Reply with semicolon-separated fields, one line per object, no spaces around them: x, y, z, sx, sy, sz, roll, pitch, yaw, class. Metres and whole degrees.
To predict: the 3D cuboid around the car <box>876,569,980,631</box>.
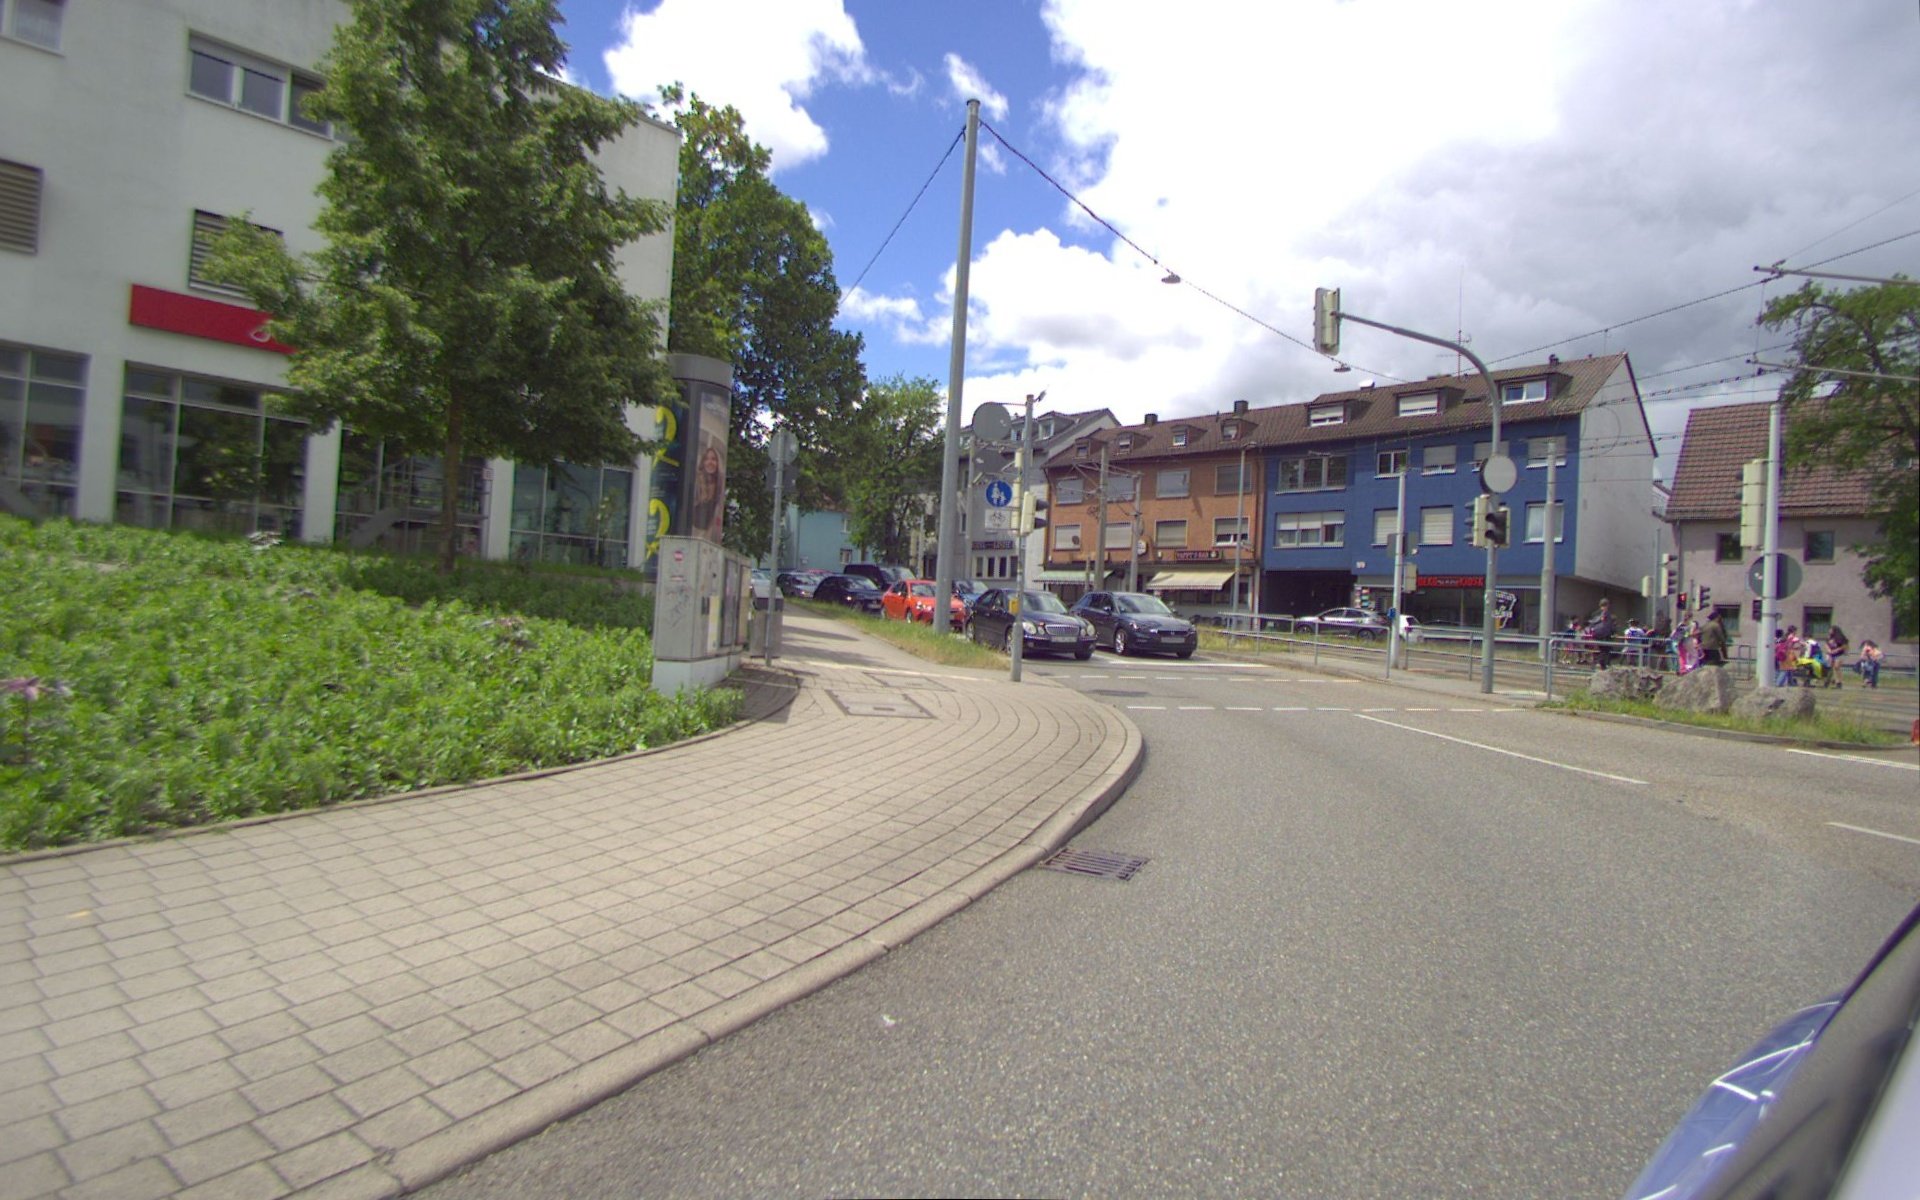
-1.041;-0.004;30.407;1.958;1.663;4.008;3;-1;-19;car

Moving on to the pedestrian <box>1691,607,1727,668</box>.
20.388;1.013;27.545;0.577;1.586;0.674;8;-6;-41;pedestrian

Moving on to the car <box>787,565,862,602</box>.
-6.340;-0.782;47.101;1.975;1.574;4.004;3;0;-31;car

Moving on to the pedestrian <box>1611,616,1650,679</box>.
19.639;1.371;29.642;0.743;1.772;0.584;3;0;18;pedestrian

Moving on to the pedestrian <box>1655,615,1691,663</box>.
21.138;1.153;30.016;0.623;1.393;0.675;3;0;-38;pedestrian

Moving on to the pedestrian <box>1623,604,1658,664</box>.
20.533;1.014;30.546;0.576;1.772;0.675;2;0;-38;pedestrian

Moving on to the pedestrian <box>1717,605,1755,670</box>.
21.798;1.038;28.440;0.576;1.772;0.675;2;0;-38;pedestrian

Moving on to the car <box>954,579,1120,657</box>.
1.539;0.333;22.171;2.009;1.483;4.334;2;0;-19;car

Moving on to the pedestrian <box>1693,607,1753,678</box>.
18.863;1.030;25.034;0.879;1.672;0.822;3;0;16;pedestrian

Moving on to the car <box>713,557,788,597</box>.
-9.629;-1.076;46.375;1.961;1.639;4.002;2;1;-34;car

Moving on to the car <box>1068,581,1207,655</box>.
4.111;0.353;24.111;1.703;1.455;4.104;1;3;-14;car

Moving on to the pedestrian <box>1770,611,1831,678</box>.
19.845;1.039;23.904;0.843;1.500;0.737;3;0;18;pedestrian

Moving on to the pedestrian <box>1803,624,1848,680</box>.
23.101;1.380;27.005;0.661;1.418;0.588;3;0;-13;pedestrian

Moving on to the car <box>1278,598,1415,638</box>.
15.578;0.701;41.009;1.887;1.388;4.845;5;-2;-43;car

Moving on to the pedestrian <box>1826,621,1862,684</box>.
22.333;1.313;25.565;0.586;1.546;0.664;3;0;45;pedestrian

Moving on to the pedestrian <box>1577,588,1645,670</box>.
15.701;0.685;24.429;0.948;1.864;0.827;4;0;-9;pedestrian

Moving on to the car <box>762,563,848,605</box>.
-6.496;-0.677;42.034;1.961;1.603;4.002;2;1;-34;car

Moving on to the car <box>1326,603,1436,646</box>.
18.071;1.034;43.553;1.682;1.551;3.993;5;-1;-42;car

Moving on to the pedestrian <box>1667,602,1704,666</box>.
20.684;0.970;28.864;0.576;1.772;0.675;2;0;-38;pedestrian

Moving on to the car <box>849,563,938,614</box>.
-2.750;-0.487;40.915;1.815;1.904;4.154;3;0;-31;car

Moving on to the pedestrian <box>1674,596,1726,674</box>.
17.351;0.810;23.757;0.683;1.772;0.749;3;0;13;pedestrian

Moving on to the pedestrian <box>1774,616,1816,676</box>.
21.512;1.183;26.074;0.661;1.511;0.588;4;-4;-23;pedestrian

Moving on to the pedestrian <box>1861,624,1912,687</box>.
23.037;1.376;25.168;0.763;1.488;0.542;3;0;-8;pedestrian

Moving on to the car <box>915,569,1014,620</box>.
0.096;-0.217;36.306;1.888;1.659;4.007;3;0;-26;car

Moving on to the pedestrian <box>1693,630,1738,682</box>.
18.205;1.342;24.392;0.666;1.182;0.584;3;0;18;pedestrian

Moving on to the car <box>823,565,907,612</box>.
-3.441;-0.420;36.039;1.863;1.482;4.009;3;0;-21;car
